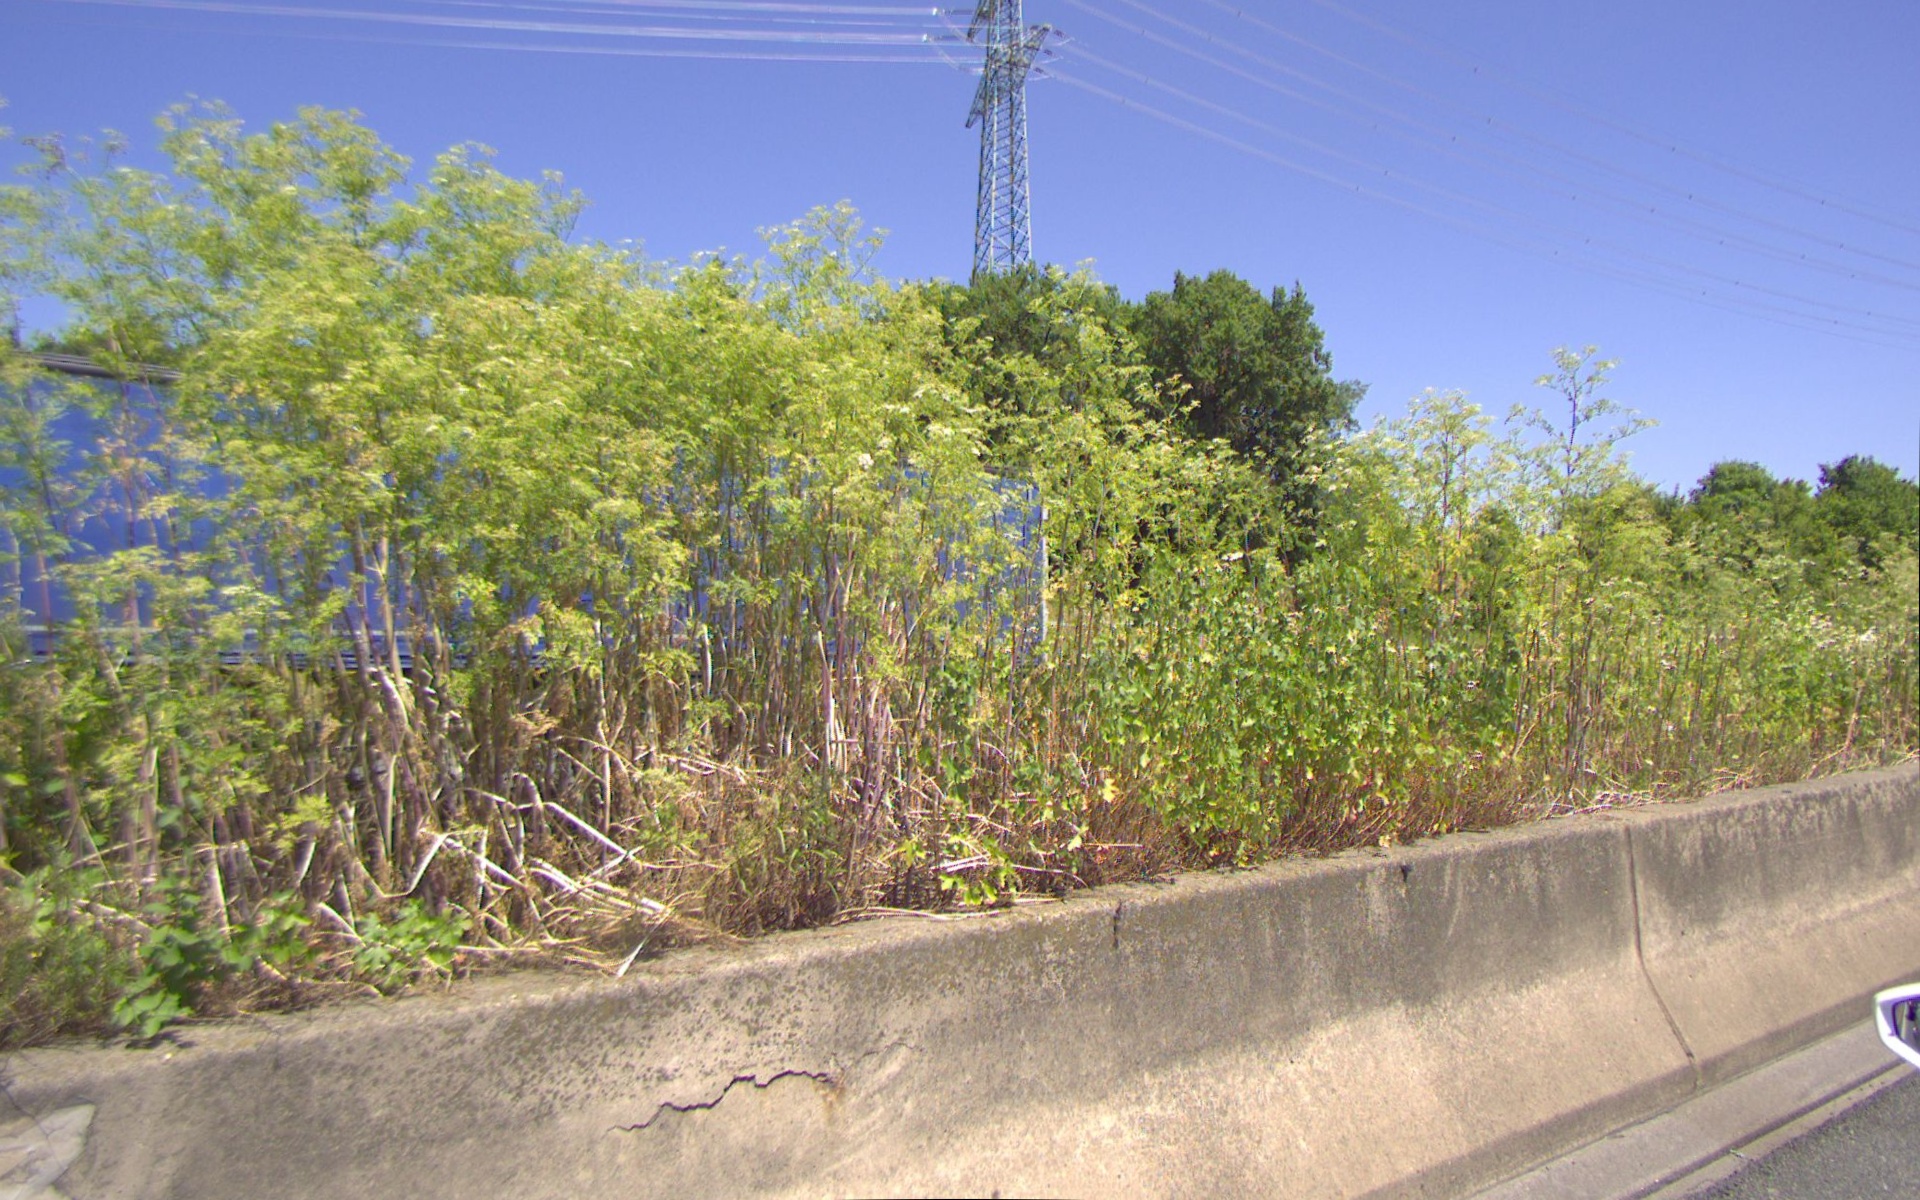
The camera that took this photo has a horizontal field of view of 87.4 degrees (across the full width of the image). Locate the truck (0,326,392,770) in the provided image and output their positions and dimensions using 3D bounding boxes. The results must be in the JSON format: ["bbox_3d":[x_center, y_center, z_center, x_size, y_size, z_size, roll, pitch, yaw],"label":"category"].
[{"bbox_3d":[-10.076,-0.504,10.940,6.604,4.284,2.999,2,-1,-29],"label":"truck"}]

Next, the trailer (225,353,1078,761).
[{"bbox_3d":[-3.627,-0.295,14.510,10.847,4.284,2.999,2,-1,-29],"label":"trailer"}]
